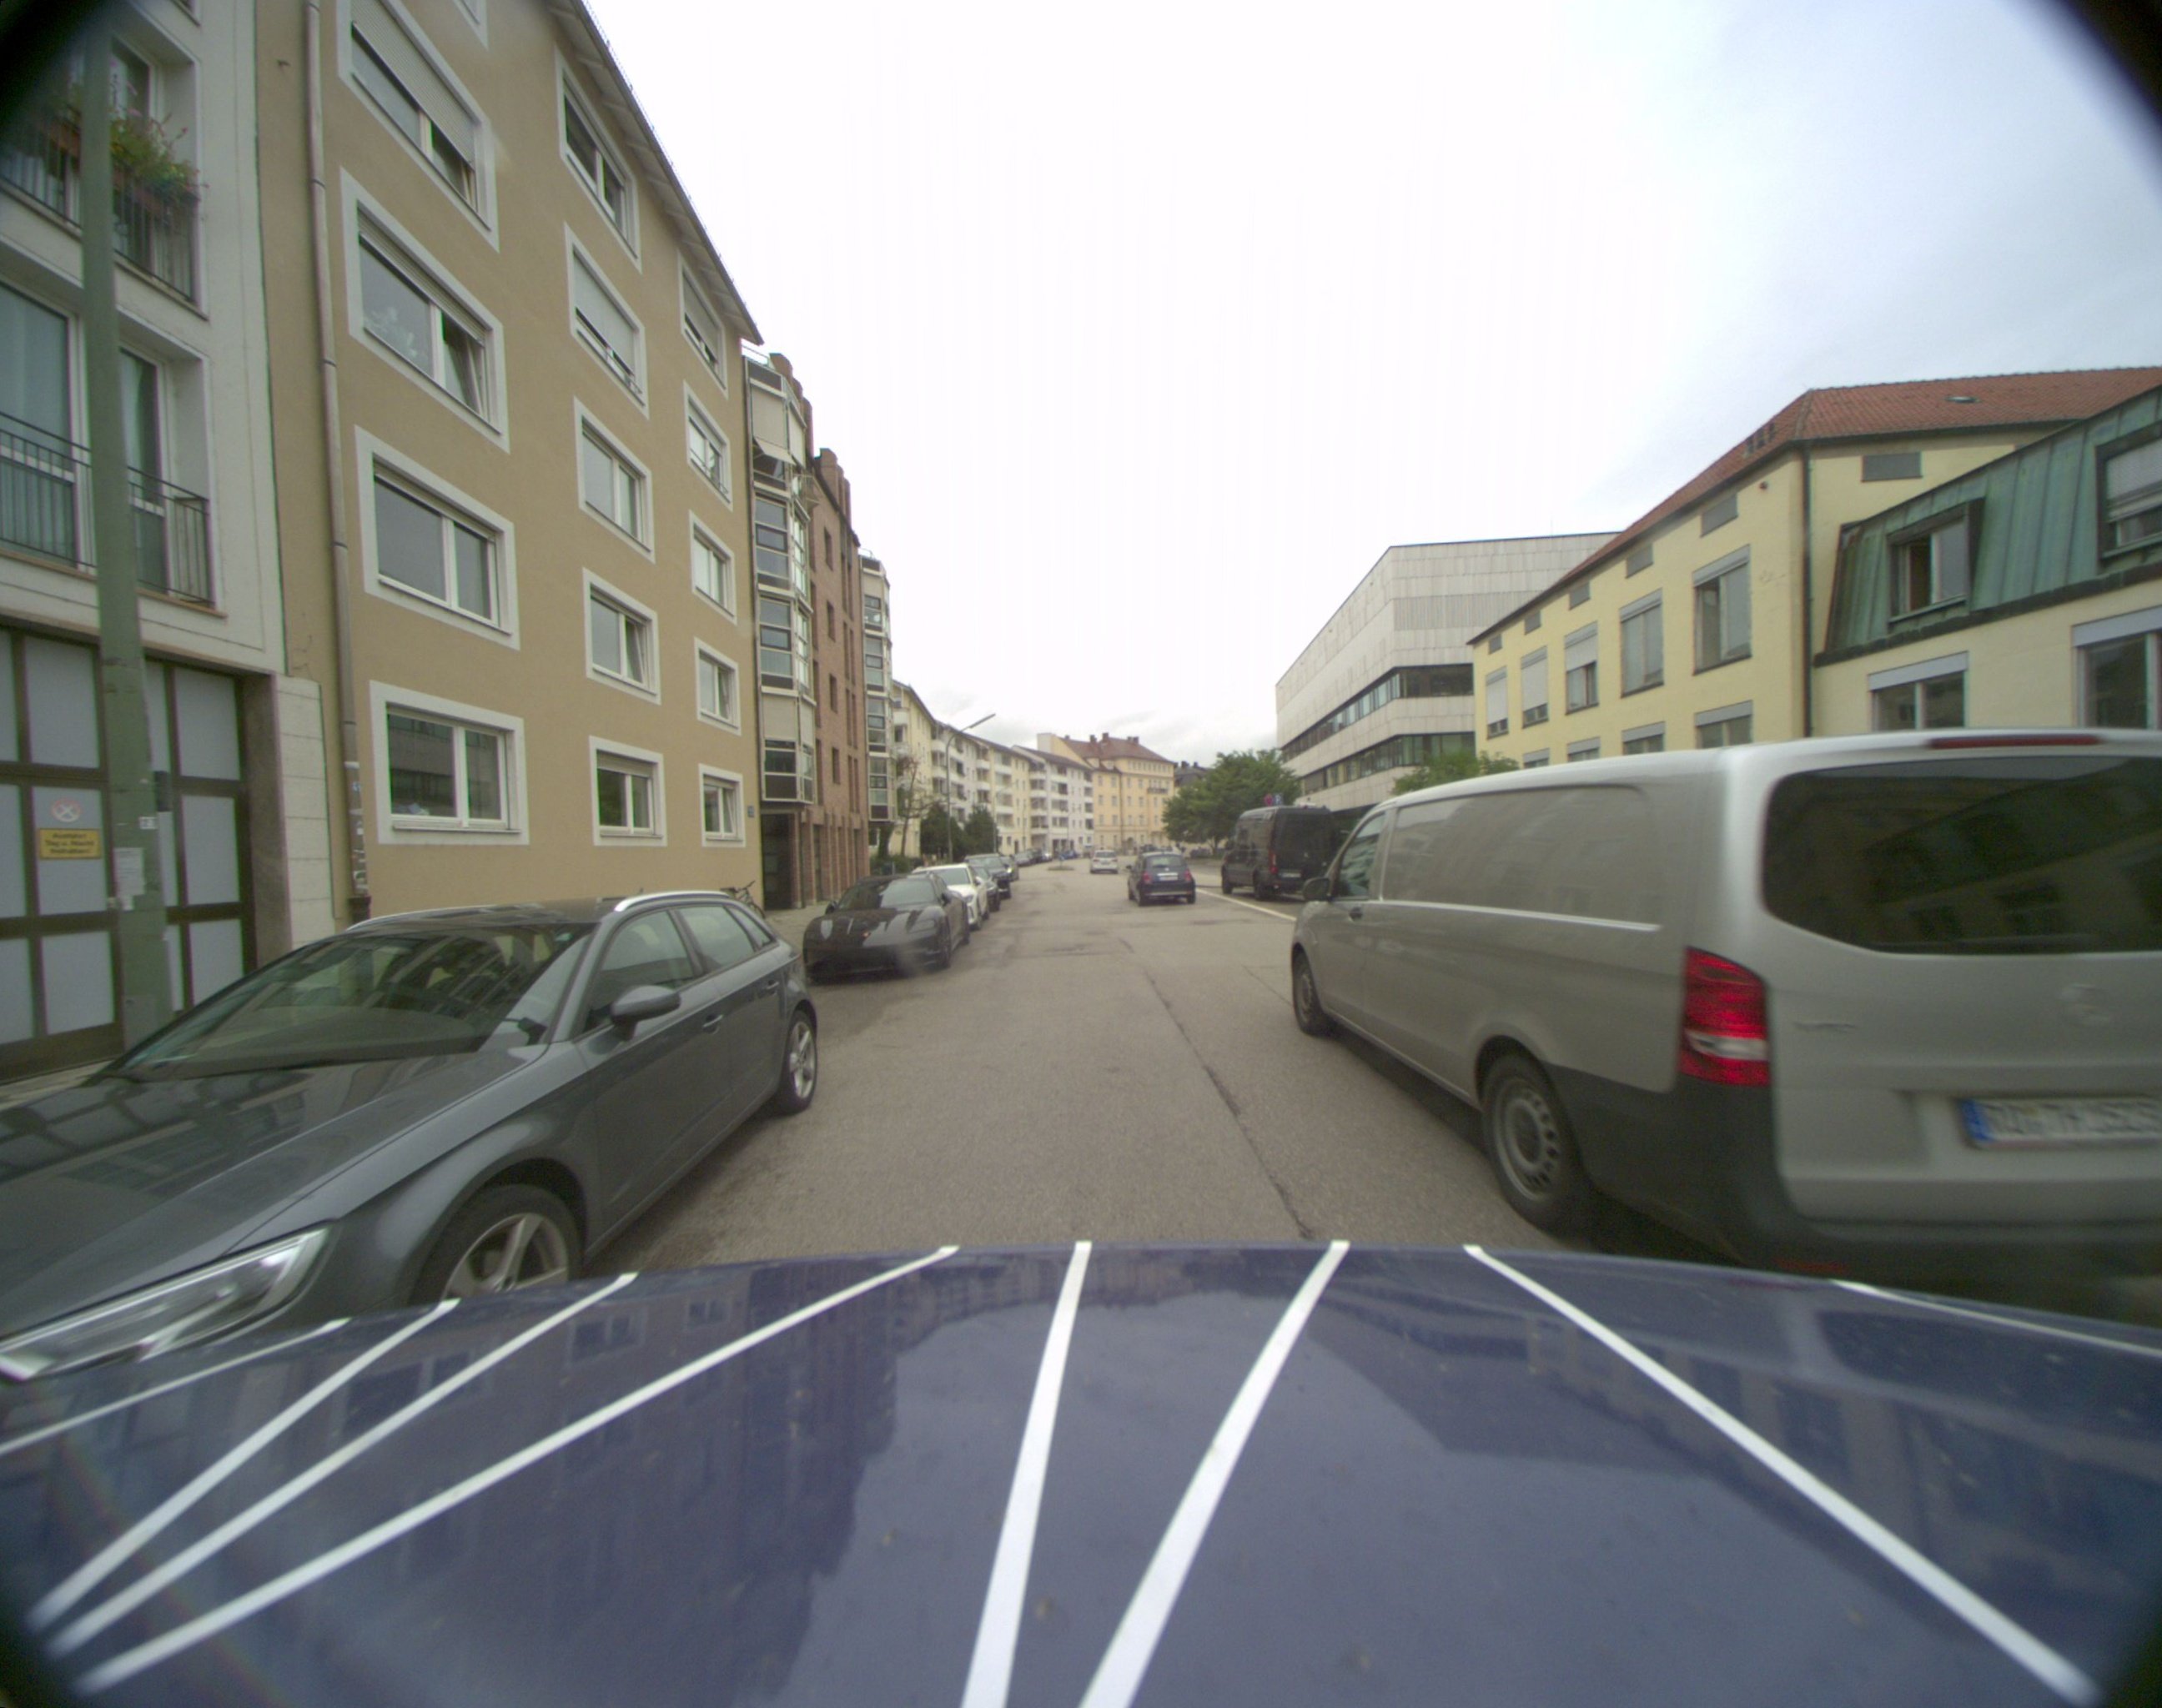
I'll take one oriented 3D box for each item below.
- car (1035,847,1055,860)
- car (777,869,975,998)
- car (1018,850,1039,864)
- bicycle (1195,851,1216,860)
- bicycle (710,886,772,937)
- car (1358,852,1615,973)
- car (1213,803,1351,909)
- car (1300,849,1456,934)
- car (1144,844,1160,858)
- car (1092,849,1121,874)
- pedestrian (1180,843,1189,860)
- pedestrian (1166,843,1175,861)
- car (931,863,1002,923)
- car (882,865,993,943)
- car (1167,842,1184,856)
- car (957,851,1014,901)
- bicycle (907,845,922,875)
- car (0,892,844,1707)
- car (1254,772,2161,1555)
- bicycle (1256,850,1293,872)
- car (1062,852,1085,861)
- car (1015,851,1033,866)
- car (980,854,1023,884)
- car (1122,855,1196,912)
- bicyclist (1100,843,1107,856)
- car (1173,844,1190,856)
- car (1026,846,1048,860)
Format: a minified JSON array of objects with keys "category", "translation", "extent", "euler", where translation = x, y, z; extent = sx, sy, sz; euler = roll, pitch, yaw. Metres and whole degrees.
[{"category":"car","translation":[-4.629,-0.098,98.865],"extent":[1.998,1.630,4.001],"euler":[-2,1,5]},{"category":"car","translation":[-2.952,1.059,12.229],"extent":[1.960,1.406,5.111],"euler":[-2,1,-3]},{"category":"car","translation":[-5.885,0.323,86.083],"extent":[1.823,1.467,4.001],"euler":[-2,0,3]},{"category":"bicycle","translation":[14.048,0.156,85.753],"extent":[2.146,0.985,0.798],"euler":[-1,1,-13]},{"category":"bicycle","translation":[-7.882,1.316,17.705],"extent":[0.678,1.027,1.752],"euler":[-1,1,-2]},{"category":"car","translation":[6.299,0.799,12.490],"extent":[1.918,1.578,4.352],"euler":[2,0,1]},{"category":"car","translation":[5.961,0.026,23.557],"extent":[2.219,2.837,6.194],"euler":[1,1,-4]},{"category":"car","translation":[6.414,0.719,16.997],"extent":[1.884,1.627,4.349],"euler":[1,0,2]},{"category":"car","translation":[10.923,-0.433,116.125],"extent":[1.891,2.002,4.003],"euler":[-2,1,12]},{"category":"car","translation":[1.732,0.500,52.692],"extent":[1.797,1.663,4.149],"euler":[-1,0,-1]},{"category":"pedestrian","translation":[10.523,-0.267,77.312],"extent":[0.787,1.776,0.516],"euler":[-2,1,-3]},{"category":"pedestrian","translation":[8.917,-0.231,75.467],"extent":[0.787,1.776,0.516],"euler":[-2,1,-3]},{"category":"car","translation":[-3.359,1.078,23.047],"extent":[1.762,1.358,4.777],"euler":[-6,1,-6]},{"category":"car","translation":[-3.136,1.025,17.626],"extent":[1.859,1.406,5.012],"euler":[-2,0,-3]},{"category":"car","translation":[17.084,-0.887,137.392],"extent":[1.890,2.343,4.006],"euler":[-1,1,24]},{"category":"car","translation":[-3.554,0.744,28.348],"extent":[1.883,1.636,4.640],"euler":[-2,1,-7]},{"category":"bicycle","translation":[-11.626,0.406,53.079],"extent":[0.653,2.002,1.992],"euler":[-2,1,-3]},{"category":"car","translation":[-2.542,1.073,3.309],"extent":[1.710,1.446,4.400],"euler":[-4,0,-3]},{"category":"car","translation":[2.573,0.702,4.454],"extent":[1.920,1.838,5.320],"euler":[-2,1,1]},{"category":"bicycle","translation":[10.994,0.398,43.195],"extent":[1.914,1.187,0.745],"euler":[-2,1,-1]},{"category":"car","translation":[-1.139,0.328,115.240],"extent":[1.680,1.281,4.007],"euler":[-1,1,29]},{"category":"car","translation":[-6.042,0.421,80.980],"extent":[1.755,1.483,3.998],"euler":[-2,1,-3]},{"category":"car","translation":[-4.512,0.833,43.675],"extent":[1.882,1.428,4.333],"euler":[-4,1,0]},{"category":"car","translation":[2.239,0.808,22.648],"extent":[1.665,1.466,3.706],"euler":[-2,1,-2]},{"category":"bicyclist","translation":[2.426,-0.454,80.537],"extent":[0.618,1.343,0.832],"euler":[-2,1,-3]},{"category":"car","translation":[17.585,-0.717,133.040],"extent":[1.890,2.002,4.006],"euler":[-1,1,24]},{"category":"car","translation":[-5.261,-0.161,90.763],"extent":[1.998,1.587,4.001],"euler":[-2,1,6]}]
